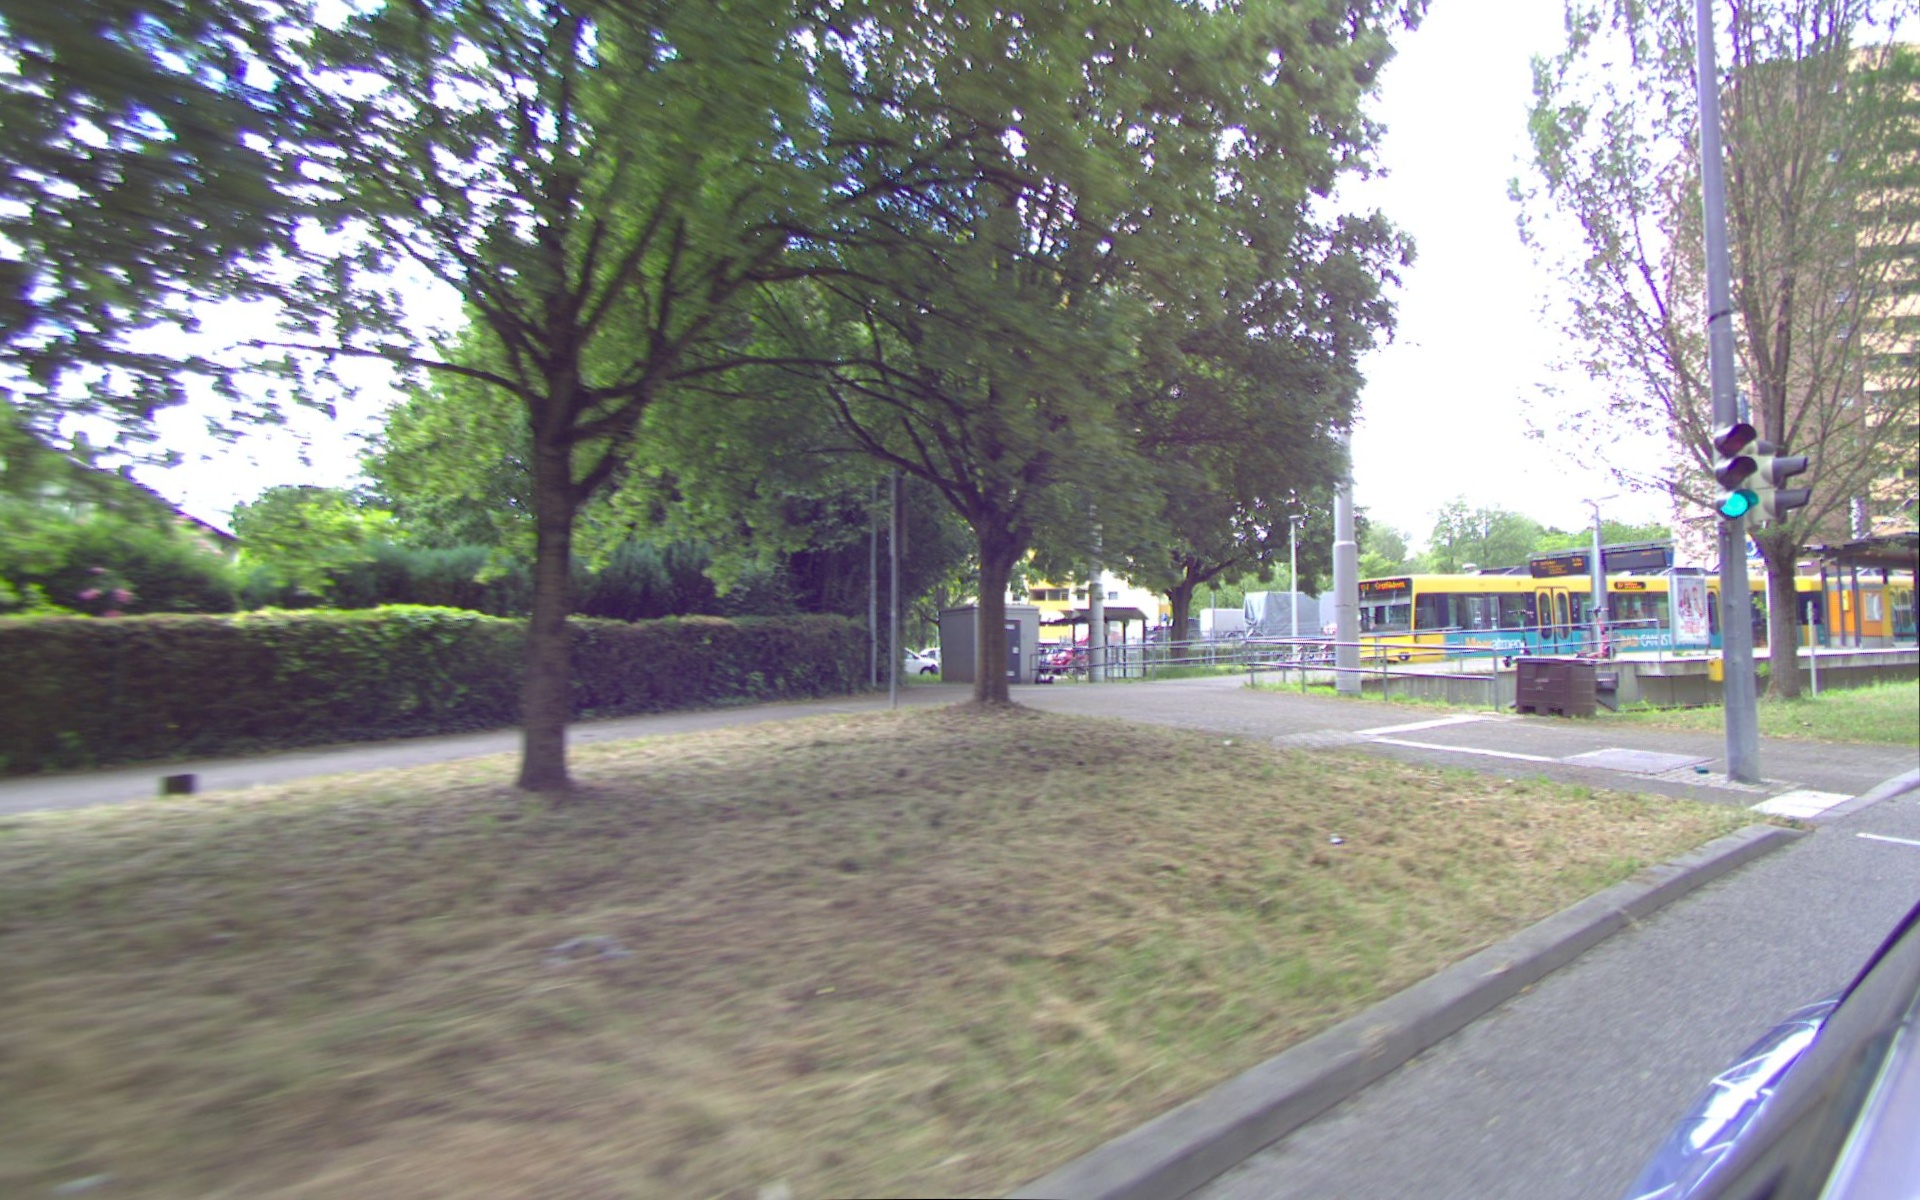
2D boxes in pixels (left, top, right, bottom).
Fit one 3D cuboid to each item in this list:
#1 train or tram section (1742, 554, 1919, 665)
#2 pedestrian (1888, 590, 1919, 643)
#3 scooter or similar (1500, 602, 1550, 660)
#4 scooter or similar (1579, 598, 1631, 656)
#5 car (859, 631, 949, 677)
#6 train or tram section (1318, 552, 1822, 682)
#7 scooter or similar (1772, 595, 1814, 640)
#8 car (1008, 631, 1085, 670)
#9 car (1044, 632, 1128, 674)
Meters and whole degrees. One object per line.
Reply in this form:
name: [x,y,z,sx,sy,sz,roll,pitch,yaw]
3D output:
train or tram section: [38.462,0.358,39.565,19.104,3.787,2.826,0,-4,-21]
pedestrian: [29.213,0.504,31.137,0.652,1.593,0.625,-2,-2,-3]
scooter or similar: [13.083,0.711,23.426,1.231,1.269,0.431,-2,-1,-33]
scooter or similar: [14.992,0.622,23.517,1.230,1.269,0.431,-2,-1,-30]
car: [-2.738,2.588,49.212,3.916,2.039,1.908,-1,-1,-21]
train or tram section: [20.378,0.513,32.973,19.104,3.636,2.826,0,-4,-21]
scooter or similar: [23.874,0.489,29.015,1.122,1.258,0.370,0,-3,-21]
car: [4.923,2.869,57.759,3.916,2.039,1.908,-1,-1,-21]
car: [6.631,2.748,53.180,3.916,2.039,1.908,-1,-1,-21]
